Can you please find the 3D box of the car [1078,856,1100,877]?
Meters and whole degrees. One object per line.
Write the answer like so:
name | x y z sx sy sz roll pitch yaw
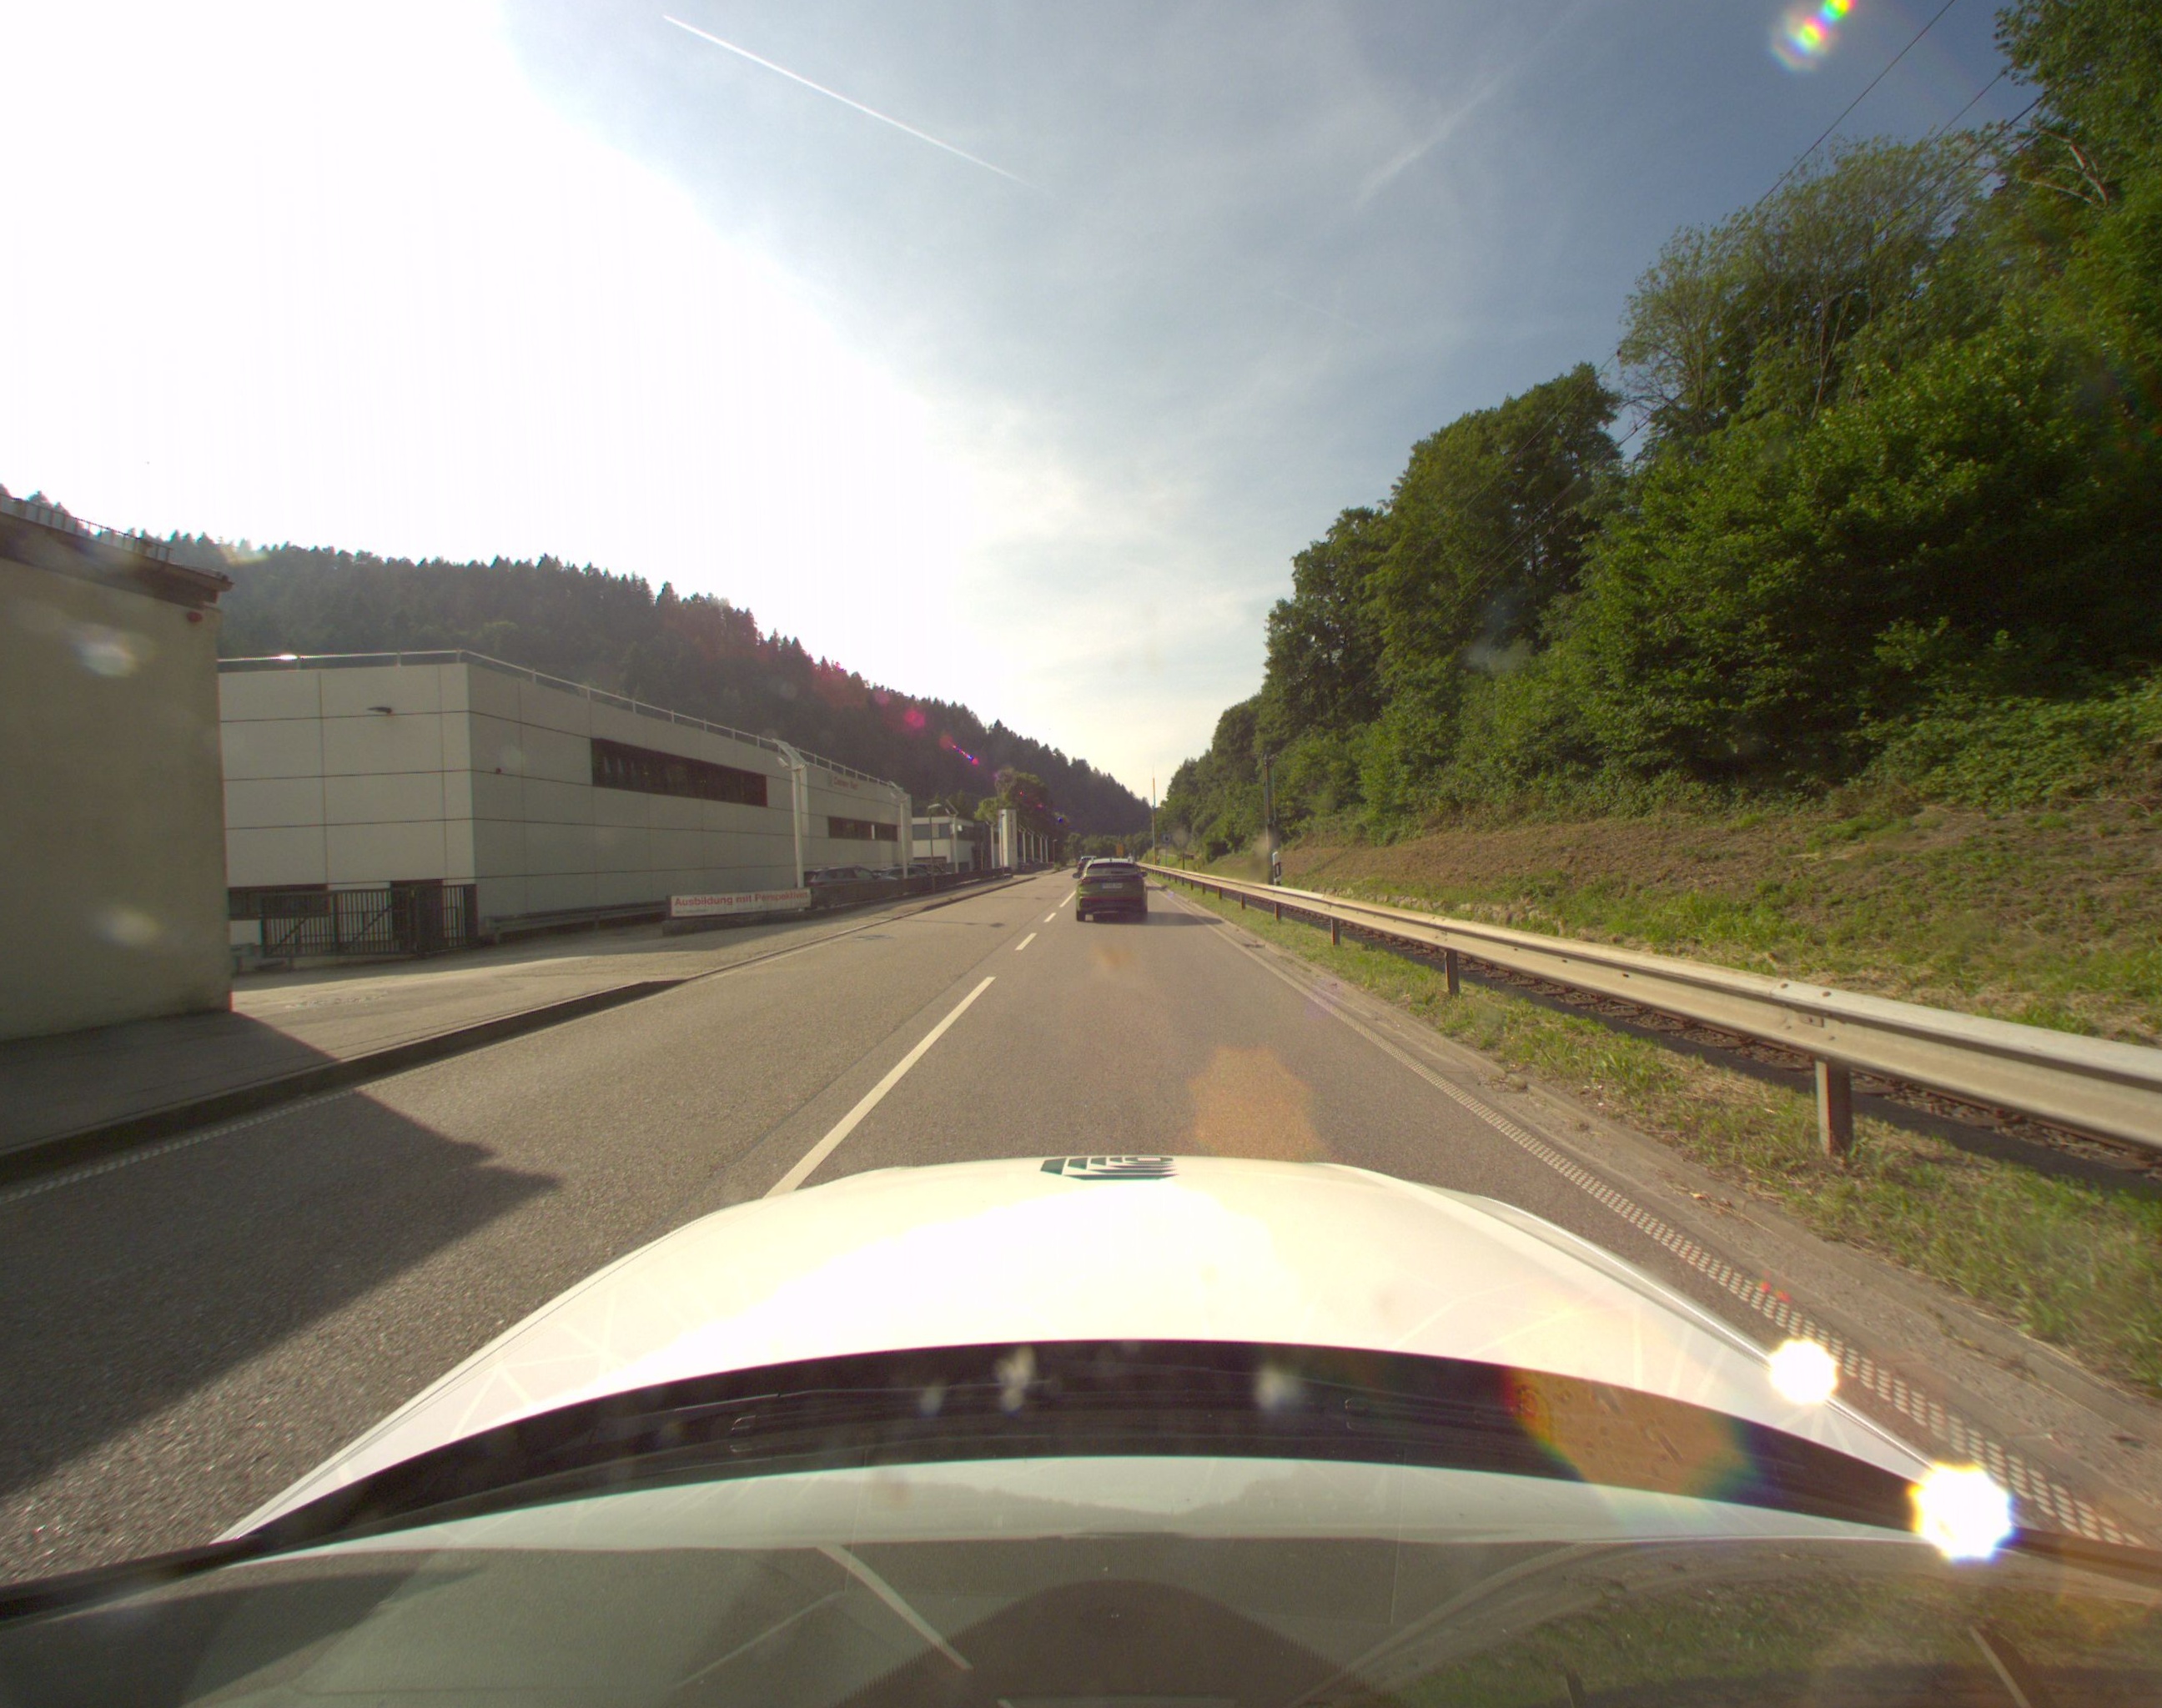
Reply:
car | 0.671 1.017 66.357 1.733 1.602 4.000 -1 0 1

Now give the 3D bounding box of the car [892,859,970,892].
car | -8.564 1.212 46.746 1.759 1.708 4.135 -2 -1 43

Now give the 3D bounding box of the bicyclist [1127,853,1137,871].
bicyclist | 4.144 0.644 66.245 0.779 1.412 0.675 -2 -1 -1

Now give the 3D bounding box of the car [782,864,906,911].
car | -9.054 1.254 31.300 1.865 1.592 4.200 -2 -1 43

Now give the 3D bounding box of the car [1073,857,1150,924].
car | 0.732 0.841 20.697 1.733 1.508 4.000 -1 0 1

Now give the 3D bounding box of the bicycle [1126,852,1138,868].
bicycle | 4.143 0.522 66.088 0.809 1.250 2.122 -2 0 0

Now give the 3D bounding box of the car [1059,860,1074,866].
car | -4.098 2.599 229.017 4.242 1.433 1.558 -2 -1 2

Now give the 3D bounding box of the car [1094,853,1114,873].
car | 2.422 0.945 86.226 1.986 2.014 4.001 -2 0 2

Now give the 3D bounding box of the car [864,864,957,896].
car | -8.869 1.308 42.697 1.865 1.495 4.516 -2 -1 43

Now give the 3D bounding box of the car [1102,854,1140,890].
car | 1.909 0.841 39.690 1.733 1.602 4.000 -1 0 1
